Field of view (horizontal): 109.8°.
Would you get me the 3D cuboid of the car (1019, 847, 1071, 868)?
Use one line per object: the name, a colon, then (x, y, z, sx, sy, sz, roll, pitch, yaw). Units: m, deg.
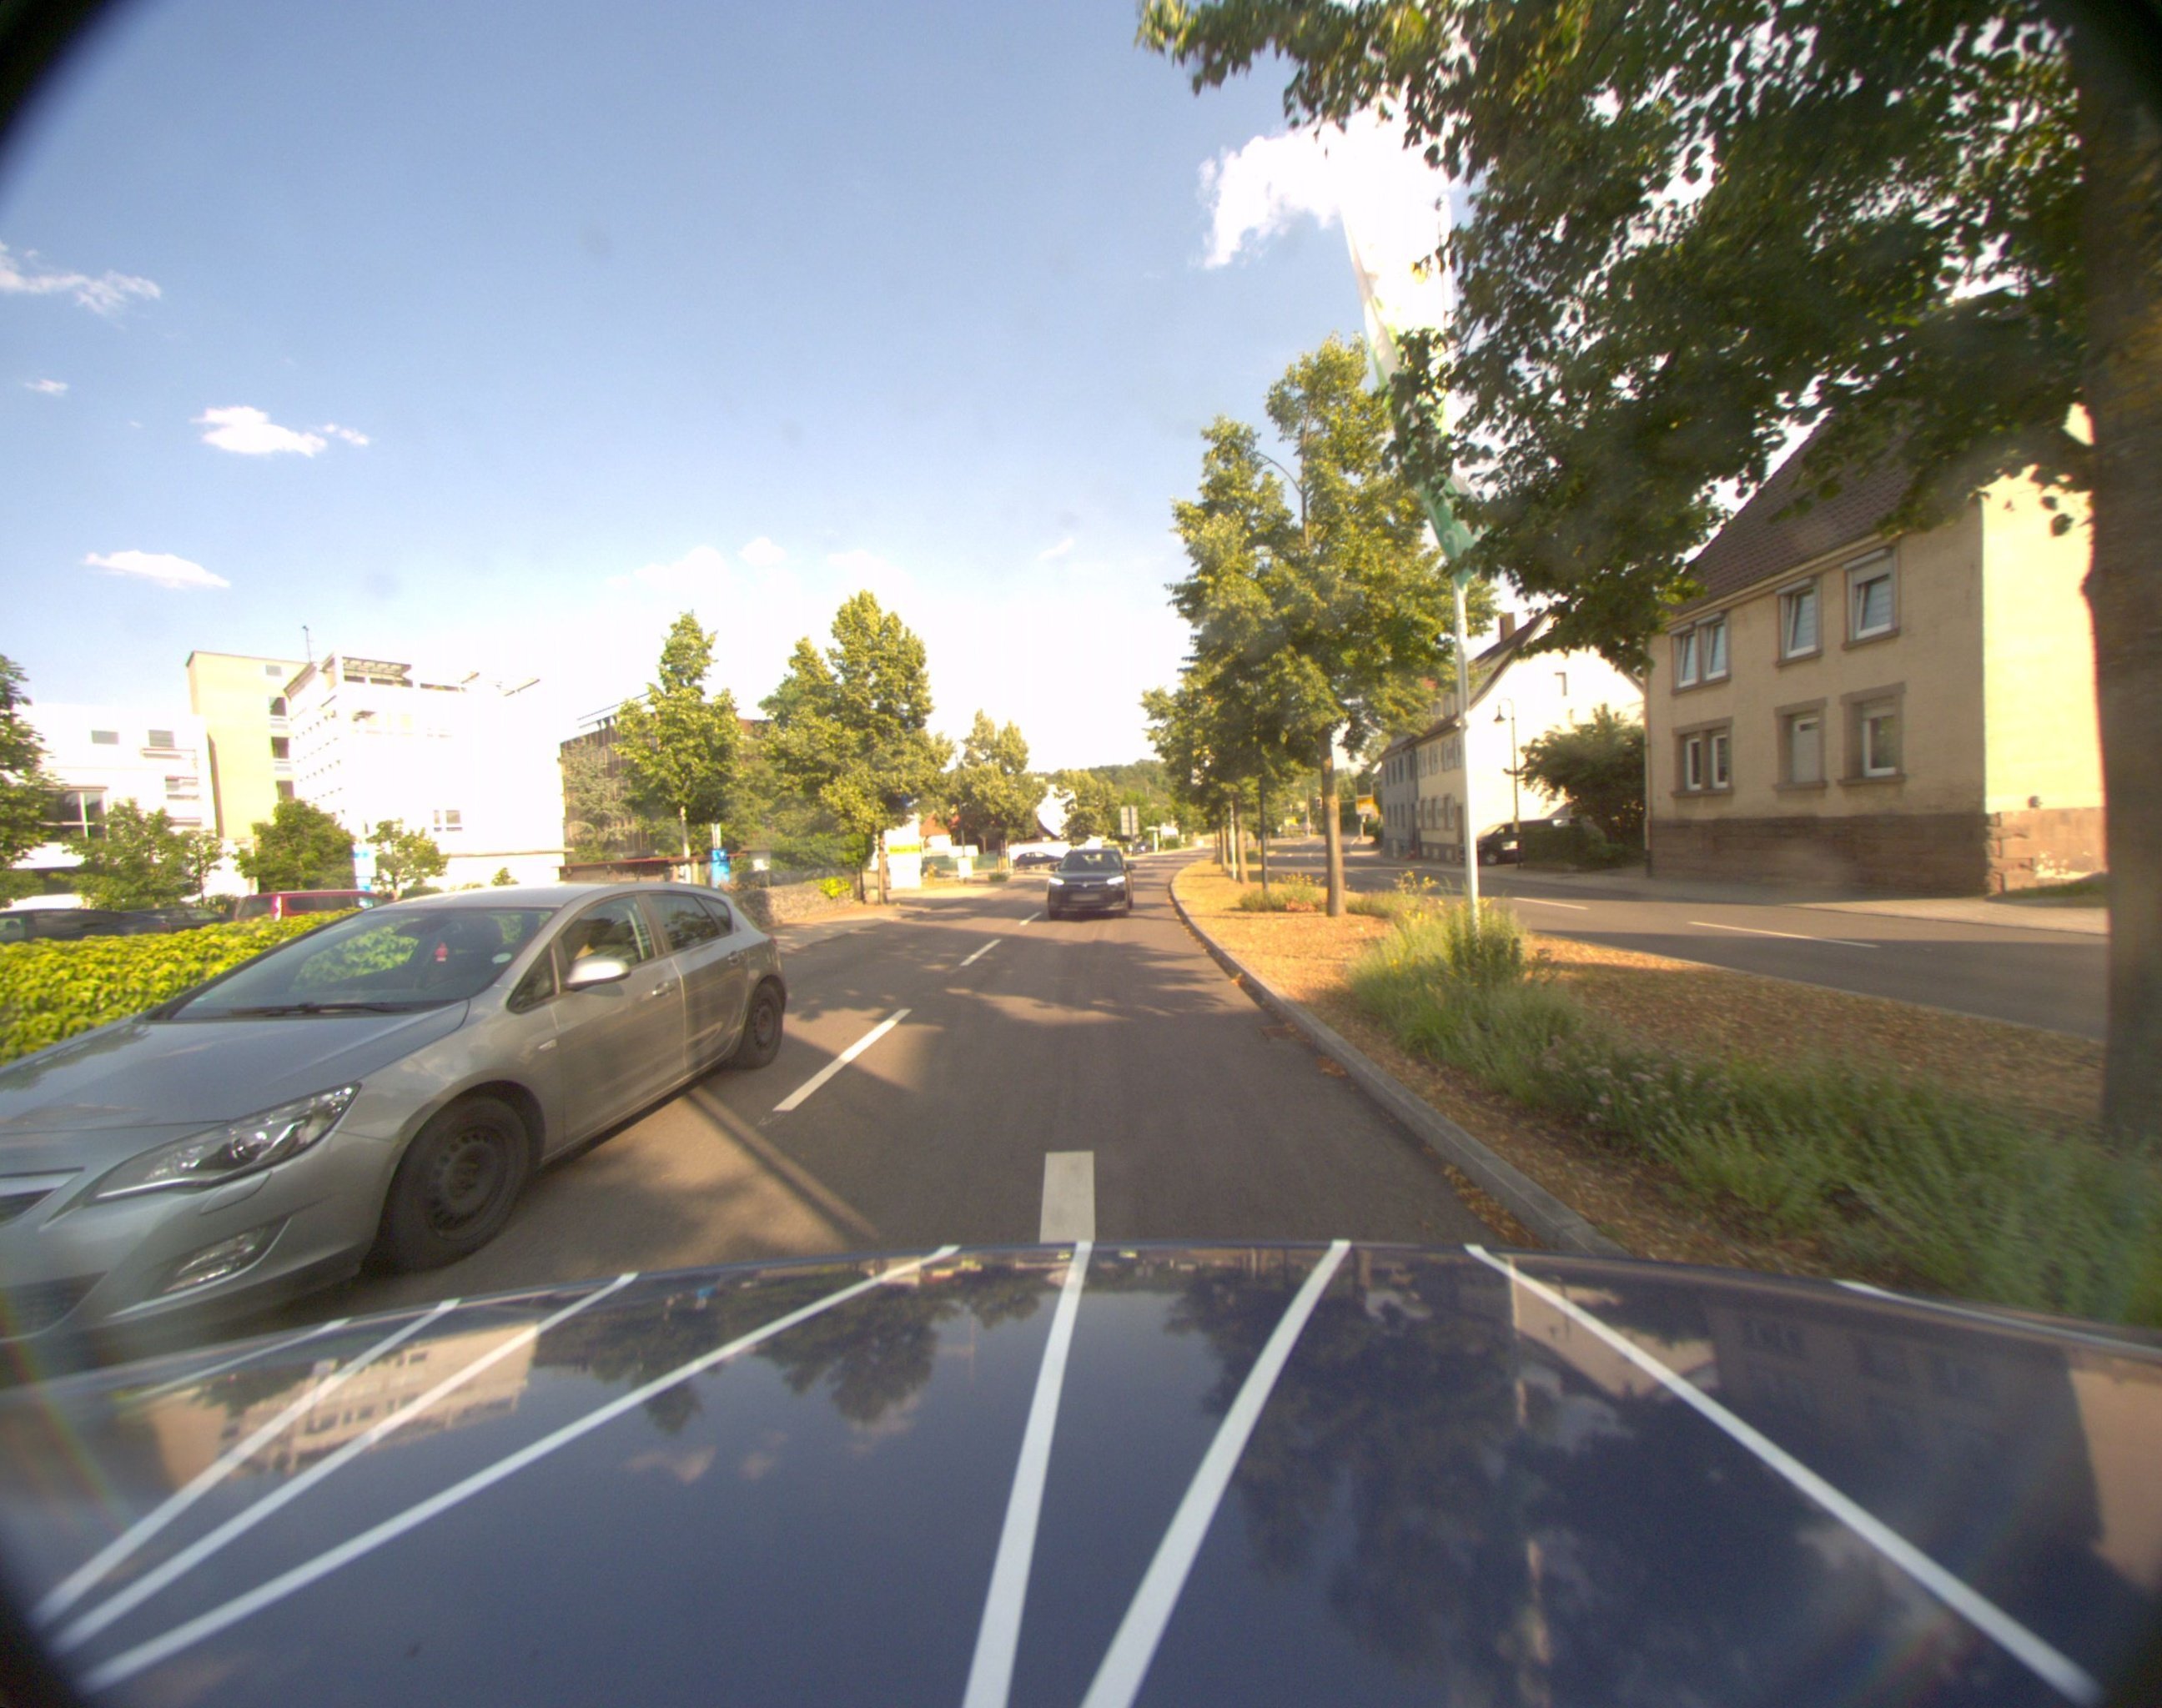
car: (-2.920, 0.284, 62.757, 3.832, 1.412, 1.939, -3, 1, 13)

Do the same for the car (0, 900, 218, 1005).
car: (-18.940, 1.826, 13.346, 1.998, 1.523, 4.549, -5, 0, 7)

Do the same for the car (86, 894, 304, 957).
car: (-30.918, 2.426, 26.766, 1.997, 1.638, 4.550, -3, 1, 8)

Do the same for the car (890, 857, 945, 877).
car: (-13.788, 1.127, 64.049, 3.993, 1.412, 1.939, -3, 1, 13)

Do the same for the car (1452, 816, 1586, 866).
car: (19.995, -0.583, 34.905, 4.832, 1.866, 2.001, -4, 1, 12)

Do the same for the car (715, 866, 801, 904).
car: (-15.025, 1.411, 35.544, 1.655, 1.454, 3.869, -3, 1, 13)

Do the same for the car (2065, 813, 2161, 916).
car: (18.105, 0.050, 11.001, 4.352, 1.477, 2.013, -3, 1, 16)

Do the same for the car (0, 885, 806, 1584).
car: (-3.224, 1.023, 3.995, 1.725, 1.481, 4.307, -2, 0, 3)

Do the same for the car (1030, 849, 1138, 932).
car: (0.207, 0.731, 17.458, 1.724, 1.605, 4.263, -1, 1, 10)

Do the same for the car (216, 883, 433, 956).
car: (-24.350, 2.031, 24.764, 1.997, 1.844, 4.649, -3, 1, 8)
